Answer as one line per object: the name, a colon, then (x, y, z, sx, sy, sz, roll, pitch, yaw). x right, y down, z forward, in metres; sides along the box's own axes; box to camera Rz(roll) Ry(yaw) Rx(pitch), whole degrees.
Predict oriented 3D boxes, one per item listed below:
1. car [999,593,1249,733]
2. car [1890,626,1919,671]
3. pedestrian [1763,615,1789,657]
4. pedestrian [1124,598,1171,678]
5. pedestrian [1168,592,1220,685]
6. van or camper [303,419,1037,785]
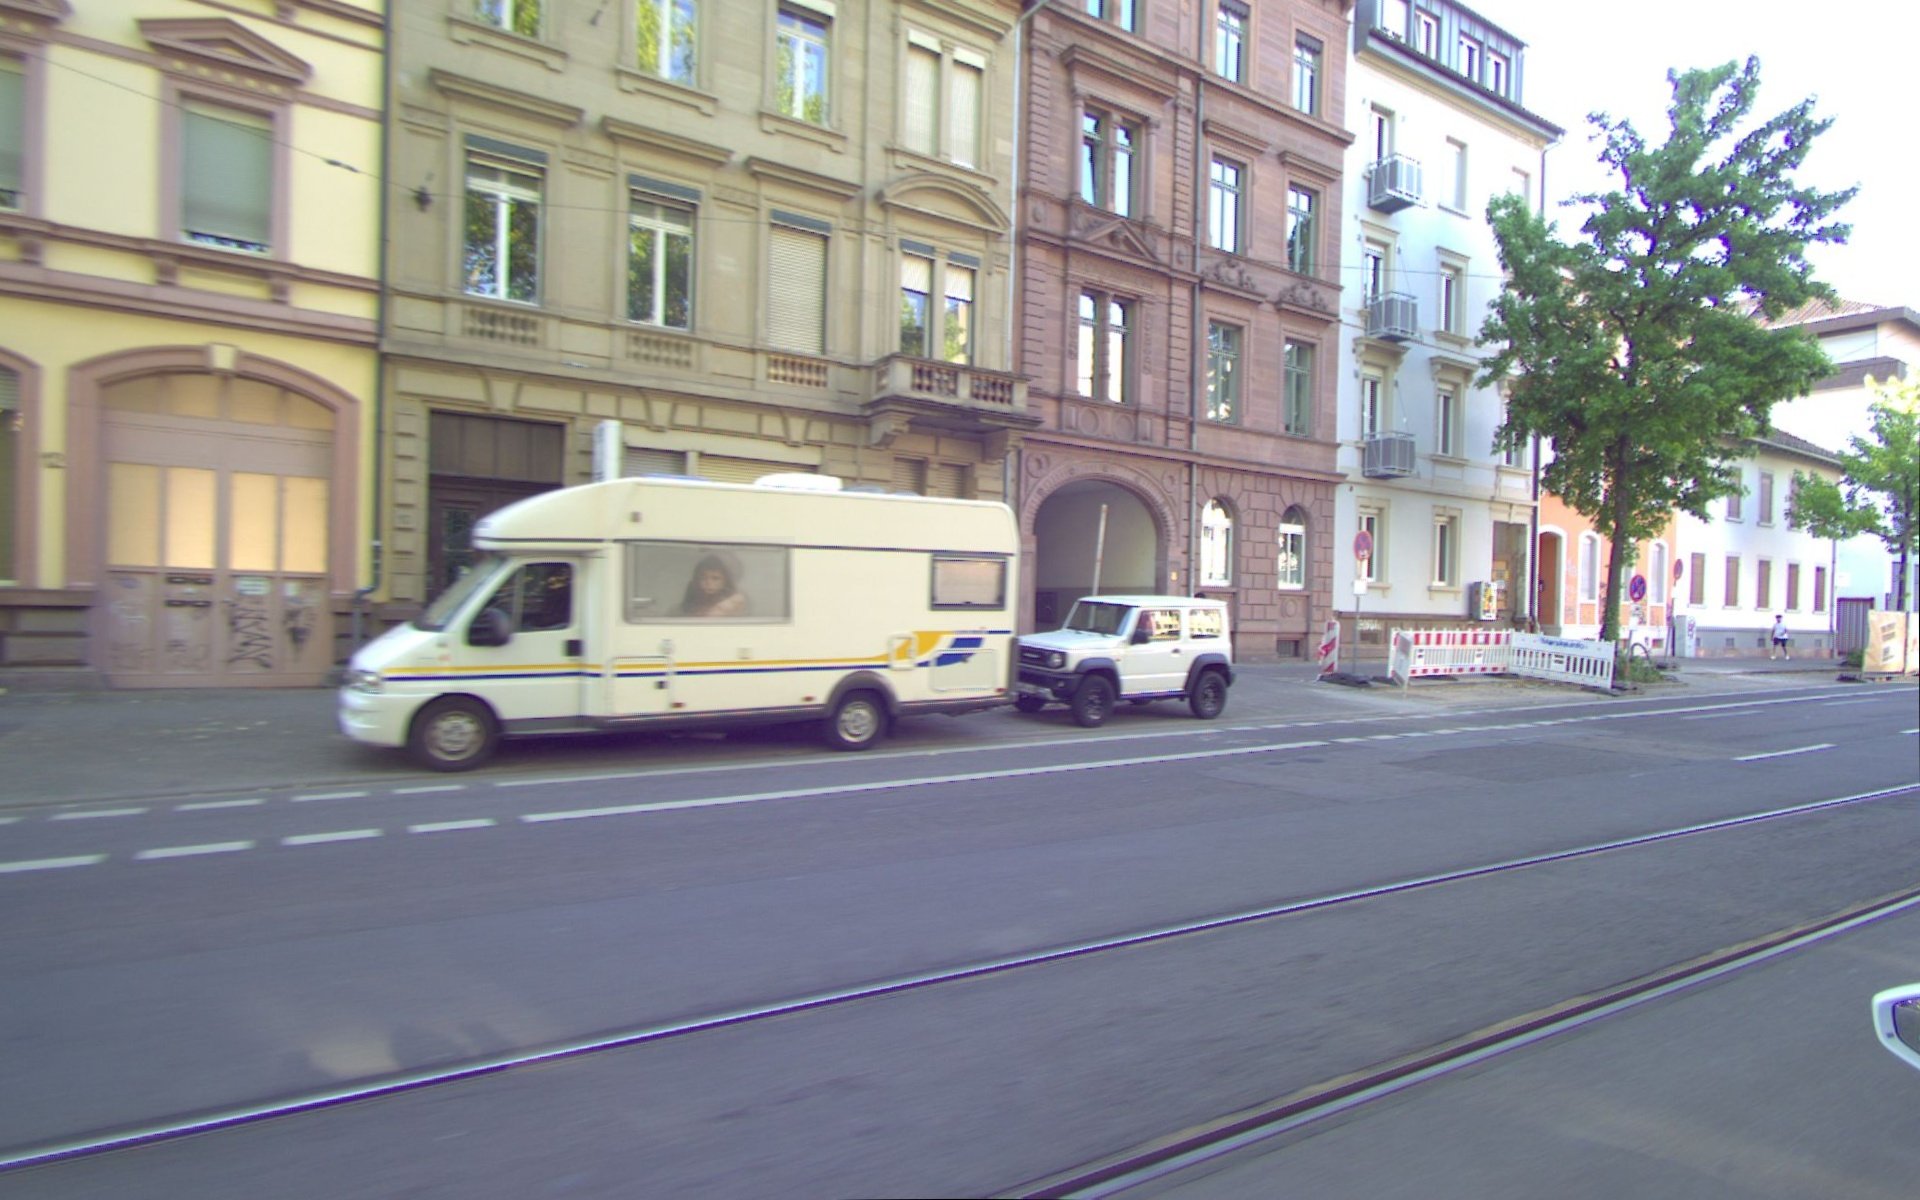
car: (2.406, 0.841, 14.577, 3.337, 1.729, 1.620, 1, 2, -35)
car: (35.575, 1.750, 36.162, 4.673, 1.534, 1.982, 1, -1, -33)
pedestrian: (30.983, 1.368, 38.128, 0.632, 1.591, 0.590, 1, 0, -33)
pedestrian: (3.605, 0.718, 19.325, 0.601, 1.481, 0.572, 1, 2, -32)
pedestrian: (4.355, 0.698, 18.680, 0.680, 1.676, 0.564, 1, 2, -33)
van or camper: (-2.835, 0.029, 11.042, 7.166, 2.987, 2.407, 1, 3, -31)
